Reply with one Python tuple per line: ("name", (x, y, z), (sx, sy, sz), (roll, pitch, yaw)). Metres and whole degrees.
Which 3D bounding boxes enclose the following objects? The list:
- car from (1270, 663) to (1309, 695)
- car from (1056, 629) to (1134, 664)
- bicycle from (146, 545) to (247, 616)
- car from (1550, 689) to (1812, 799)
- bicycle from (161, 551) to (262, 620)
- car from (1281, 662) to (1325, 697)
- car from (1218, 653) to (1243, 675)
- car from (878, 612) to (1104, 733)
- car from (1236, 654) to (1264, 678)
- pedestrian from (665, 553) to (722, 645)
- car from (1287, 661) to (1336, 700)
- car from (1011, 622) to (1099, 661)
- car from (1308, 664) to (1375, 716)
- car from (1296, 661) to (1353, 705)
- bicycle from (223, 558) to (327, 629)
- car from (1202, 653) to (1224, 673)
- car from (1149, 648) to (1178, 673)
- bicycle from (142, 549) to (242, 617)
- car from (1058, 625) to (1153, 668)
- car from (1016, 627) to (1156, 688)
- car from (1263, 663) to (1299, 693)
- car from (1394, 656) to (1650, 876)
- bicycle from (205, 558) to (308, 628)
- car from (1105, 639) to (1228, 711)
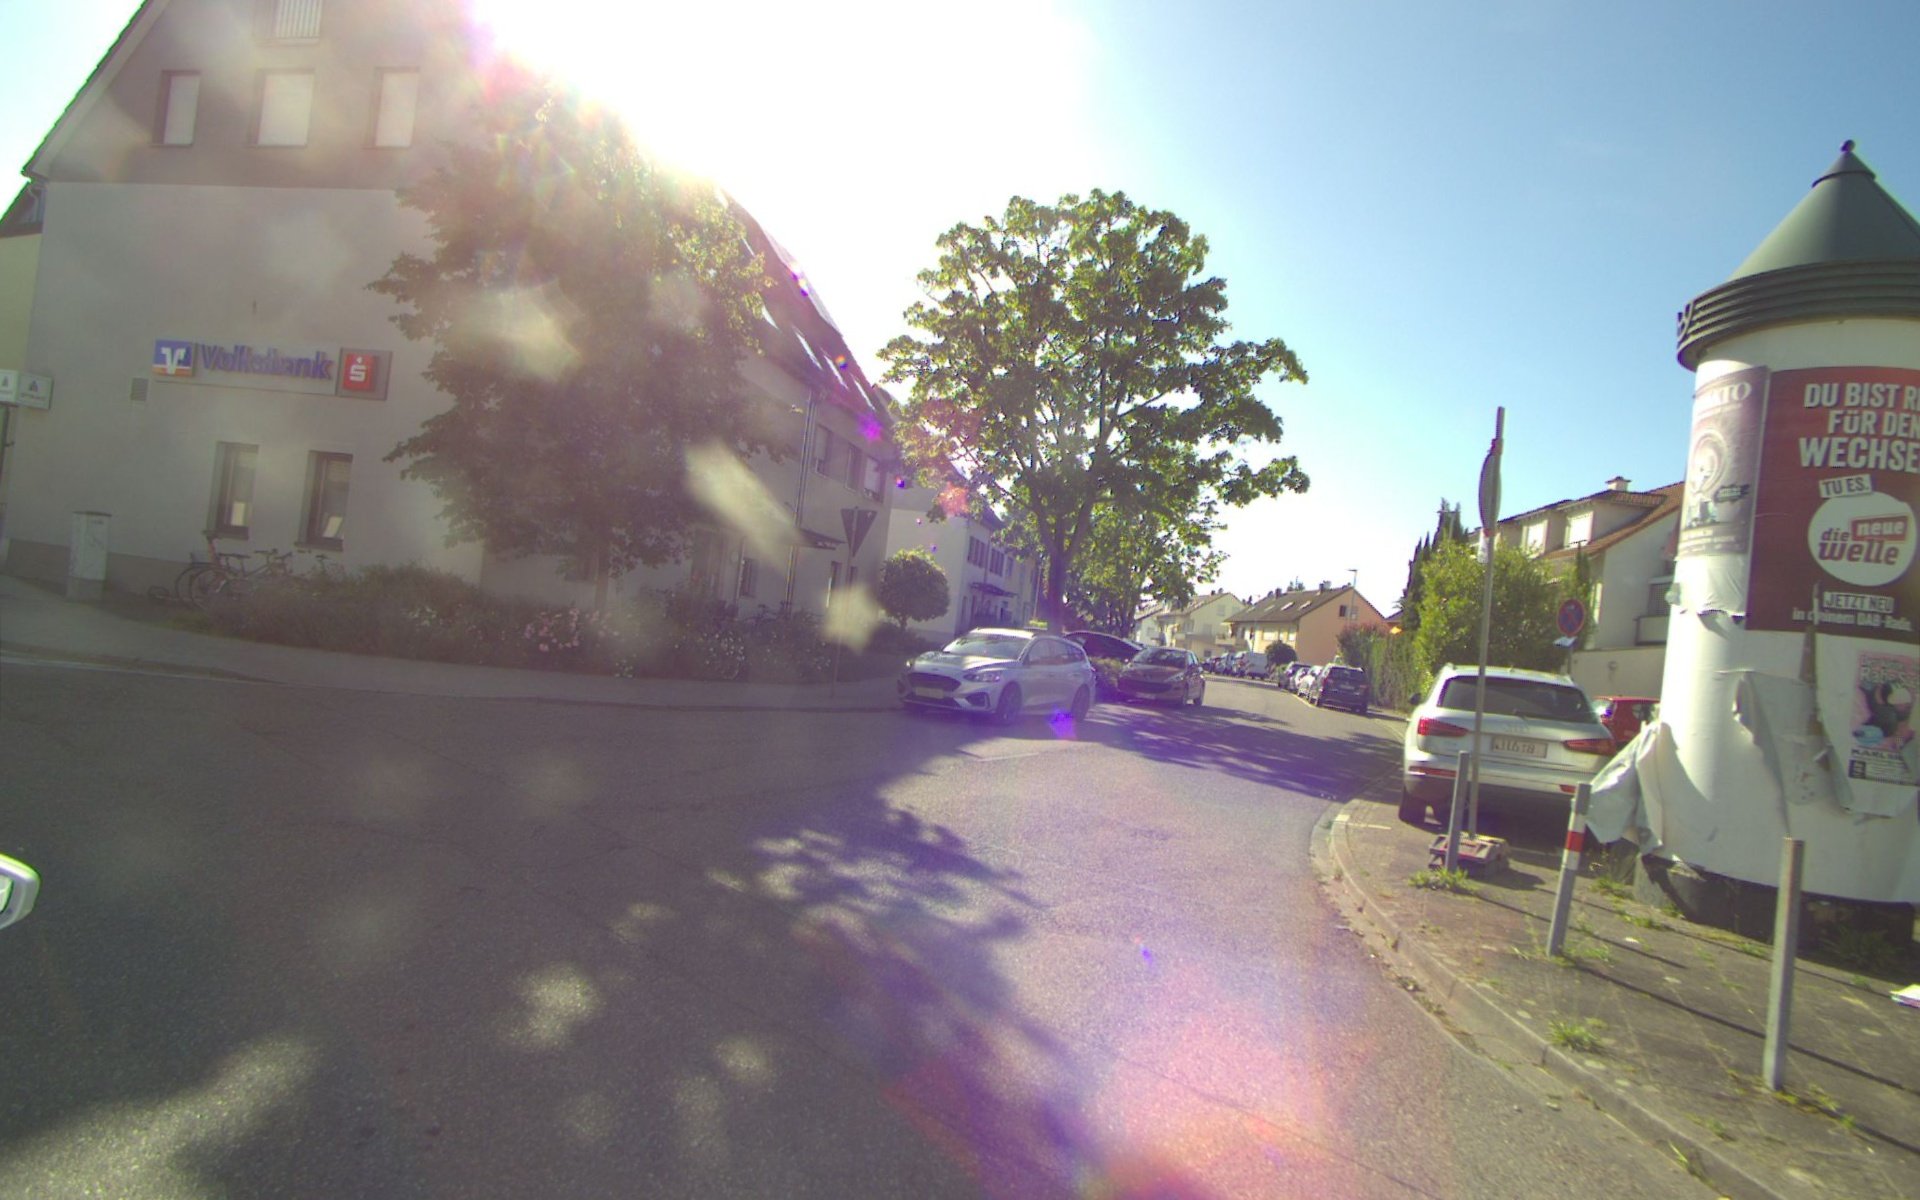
("car", (18.358, 4.392, 56.168), (1.666, 1.517, 3.726), (6, -1, 14))
("car", (7.589, 2.617, 56.620), (3.925, 1.427, 1.800), (7, 0, 19))
("bicycle", (-12.371, -0.307, 16.325), (1.216, 0.987, 0.317), (7, 0, -38))
("car", (13.871, 2.734, 19.577), (3.652, 1.517, 1.700), (6, -1, 12))
("bicycle", (-11.643, -0.213, 15.663), (1.159, 0.931, 0.309), (7, 0, -43))
("car", (17.539, 4.033, 51.530), (1.666, 1.517, 3.726), (6, -1, 14))
("car", (21.802, 5.175, 81.254), (1.666, 1.517, 3.726), (7, -1, 14))
("car", (0.674, 1.179, 16.407), (1.783, 1.512, 4.299), (7, -1, 29))
("car", (21.407, 4.835, 74.312), (1.666, 1.517, 3.726), (7, -1, 14))
("pedestrian", (-6.232, -0.013, 23.556), (0.752, 2.038, 0.775), (7, 0, 23))
("car", (16.397, 3.720, 47.074), (1.666, 1.517, 3.726), (6, -1, 14))
("car", (4.741, 2.050, 49.976), (3.925, 1.427, 1.800), (7, 0, 19))
("car", (13.613, 3.173, 36.068), (1.666, 1.517, 3.726), (6, -1, 14))
("car", (15.095, 3.412, 41.798), (1.666, 1.517, 3.726), (6, -1, 14))
("bicycle", (-10.147, -0.085, 14.924), (0.308, 0.931, 1.163), (7, 0, 37))
("car", (21.776, 5.409, 86.736), (1.666, 1.517, 3.726), (7, -1, 14))
("car", (14.135, 4.200, 69.813), (1.666, 1.517, 3.726), (6, -1, 14))
("bicycle", (-12.060, -0.259, 15.820), (1.159, 0.931, 0.309), (7, 0, -43))
("car", (6.678, 2.120, 46.172), (3.925, 1.427, 1.800), (7, 0, 19))
("car", (4.010, 1.824, 32.133), (3.934, 1.426, 1.797), (7, -1, 32))
("car", (19.230, 4.658, 60.318), (1.666, 1.517, 3.726), (6, -1, 14))
("car", (5.640, 1.515, 10.566), (1.782, 1.612, 4.302), (5, -1, 24))
("bicycle", (-10.548, -0.093, 15.108), (0.308, 0.931, 1.163), (7, 0, 37))
("car", (5.455, 1.955, 26.159), (1.783, 1.512, 4.299), (7, -1, 29))
